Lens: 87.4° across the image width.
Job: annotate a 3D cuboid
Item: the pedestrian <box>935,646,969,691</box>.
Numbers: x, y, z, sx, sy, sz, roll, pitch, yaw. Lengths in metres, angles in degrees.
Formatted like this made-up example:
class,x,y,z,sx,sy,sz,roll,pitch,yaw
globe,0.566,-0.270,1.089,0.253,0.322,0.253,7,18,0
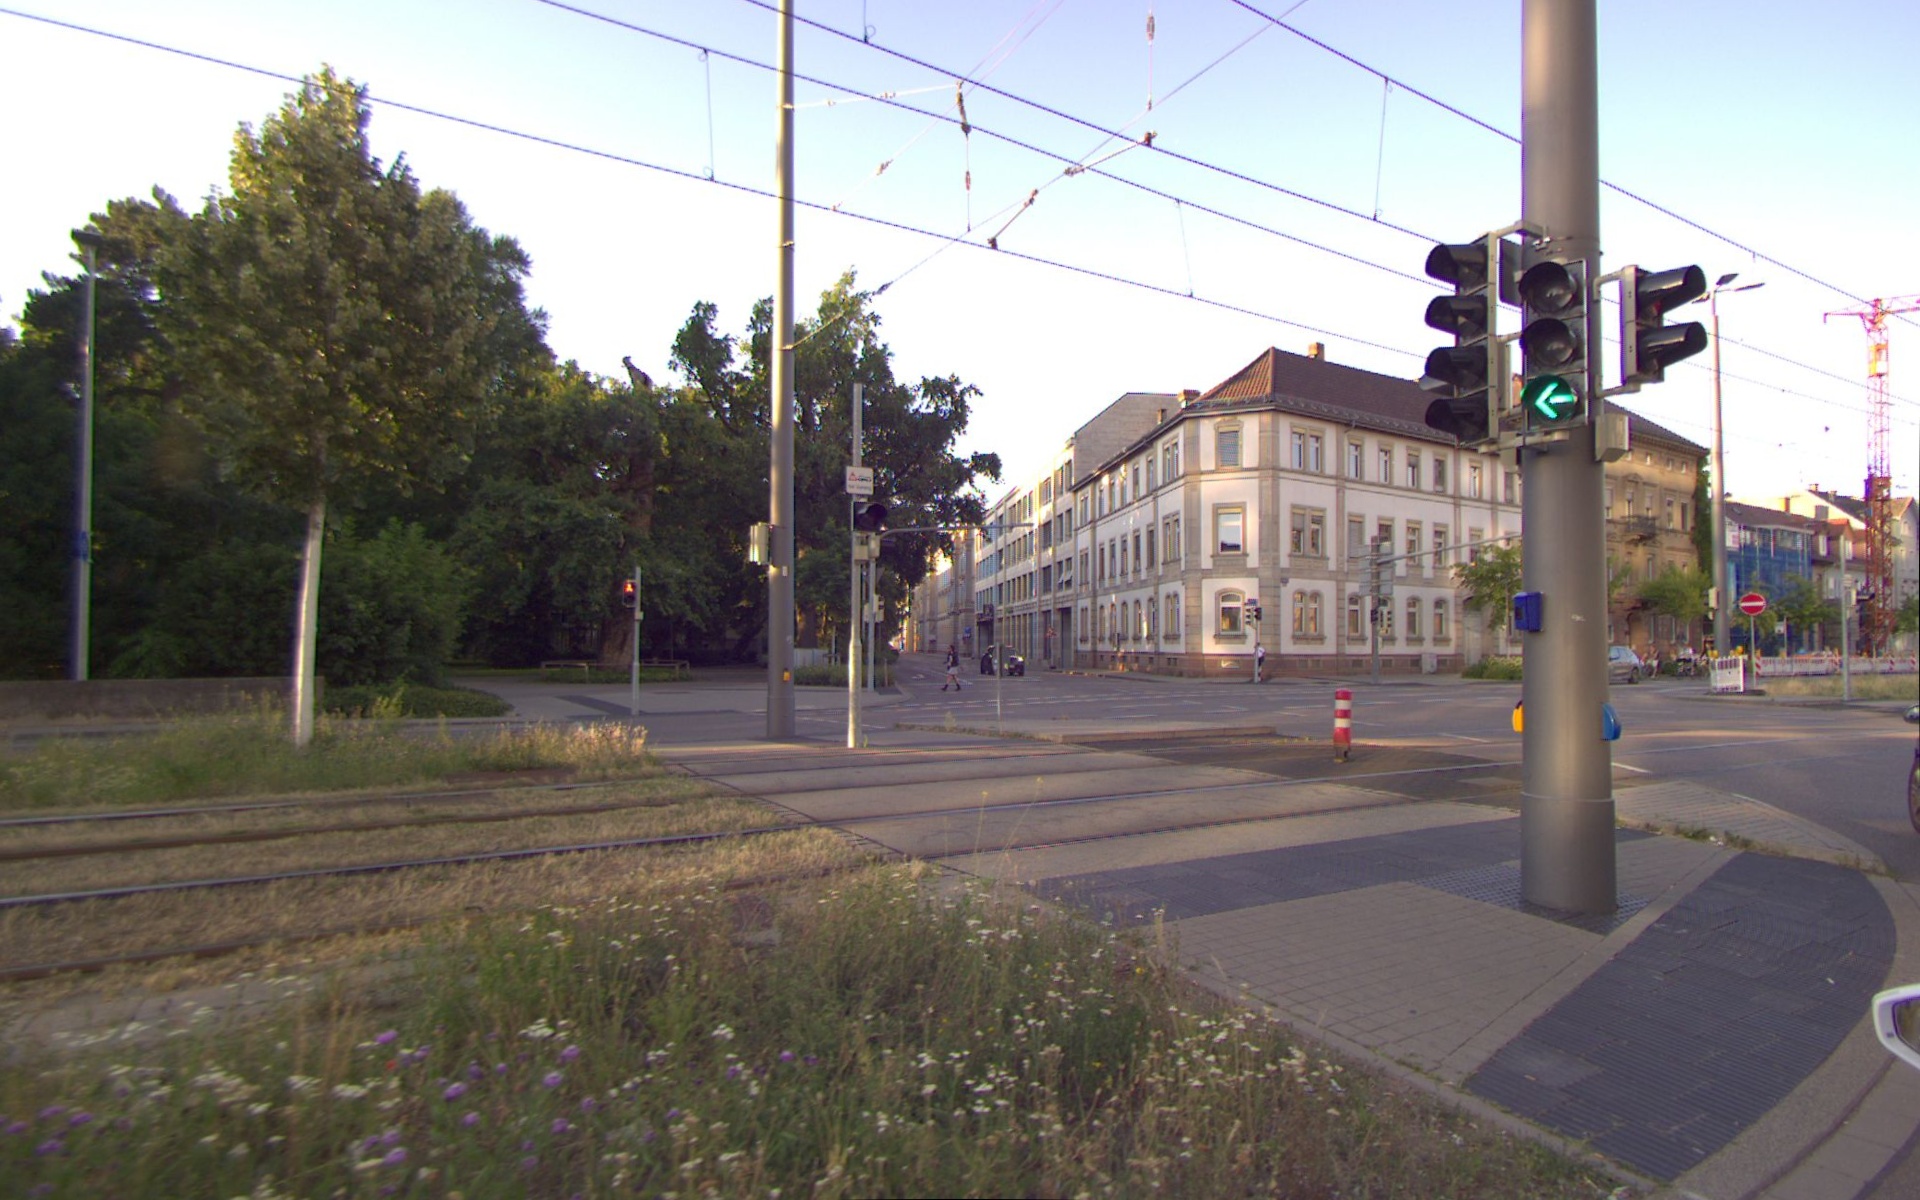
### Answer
class,x,y,z,sx,sy,sz,roll,pitch,yaw
pedestrian,-0.265,2.271,33.472,0.925,1.478,0.600,1,0,-31

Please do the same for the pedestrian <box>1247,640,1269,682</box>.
class,x,y,z,sx,sy,sz,roll,pitch,yaw
pedestrian,12.936,2.634,43.602,0.797,1.738,0.703,1,0,27

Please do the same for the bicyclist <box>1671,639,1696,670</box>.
class,x,y,z,sx,sy,sz,roll,pitch,yaw
bicyclist,37.564,2.830,52.182,0.782,1.591,0.769,1,0,-27

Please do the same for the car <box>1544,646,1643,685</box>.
class,x,y,z,sx,sy,sz,roll,pitch,yaw
car,27.316,2.789,43.290,4.078,1.600,1.984,1,-4,-32

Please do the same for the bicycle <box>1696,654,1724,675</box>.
class,x,y,z,sx,sy,sz,roll,pitch,yaw
bicycle,38.439,3.294,51.471,1.538,0.988,0.587,1,0,-31

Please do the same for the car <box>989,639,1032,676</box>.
class,x,y,z,sx,sy,sz,roll,pitch,yaw
car,2.480,2.818,49.845,1.755,1.576,3.999,1,0,-2

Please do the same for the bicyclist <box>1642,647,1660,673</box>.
class,x,y,z,sx,sy,sz,roll,pitch,yaw
bicyclist,35.576,3.071,51.708,0.453,1.283,0.589,1,0,-21

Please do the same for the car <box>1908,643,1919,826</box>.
class,x,y,z,sx,sy,sz,roll,pitch,yaw
car,7.181,0.991,6.204,1.654,1.370,3.982,0,-1,40

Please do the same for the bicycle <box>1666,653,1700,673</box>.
class,x,y,z,sx,sy,sz,roll,pitch,yaw
bicycle,37.548,3.271,52.182,1.618,0.957,0.769,1,0,-27

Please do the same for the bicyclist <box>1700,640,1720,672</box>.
class,x,y,z,sx,sy,sz,roll,pitch,yaw
bicyclist,38.448,2.871,51.469,0.703,1.590,0.587,1,0,-31

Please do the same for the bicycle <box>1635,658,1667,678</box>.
class,x,y,z,sx,sy,sz,roll,pitch,yaw
bicycle,35.565,3.509,51.709,1.533,1.002,0.589,1,0,-21
